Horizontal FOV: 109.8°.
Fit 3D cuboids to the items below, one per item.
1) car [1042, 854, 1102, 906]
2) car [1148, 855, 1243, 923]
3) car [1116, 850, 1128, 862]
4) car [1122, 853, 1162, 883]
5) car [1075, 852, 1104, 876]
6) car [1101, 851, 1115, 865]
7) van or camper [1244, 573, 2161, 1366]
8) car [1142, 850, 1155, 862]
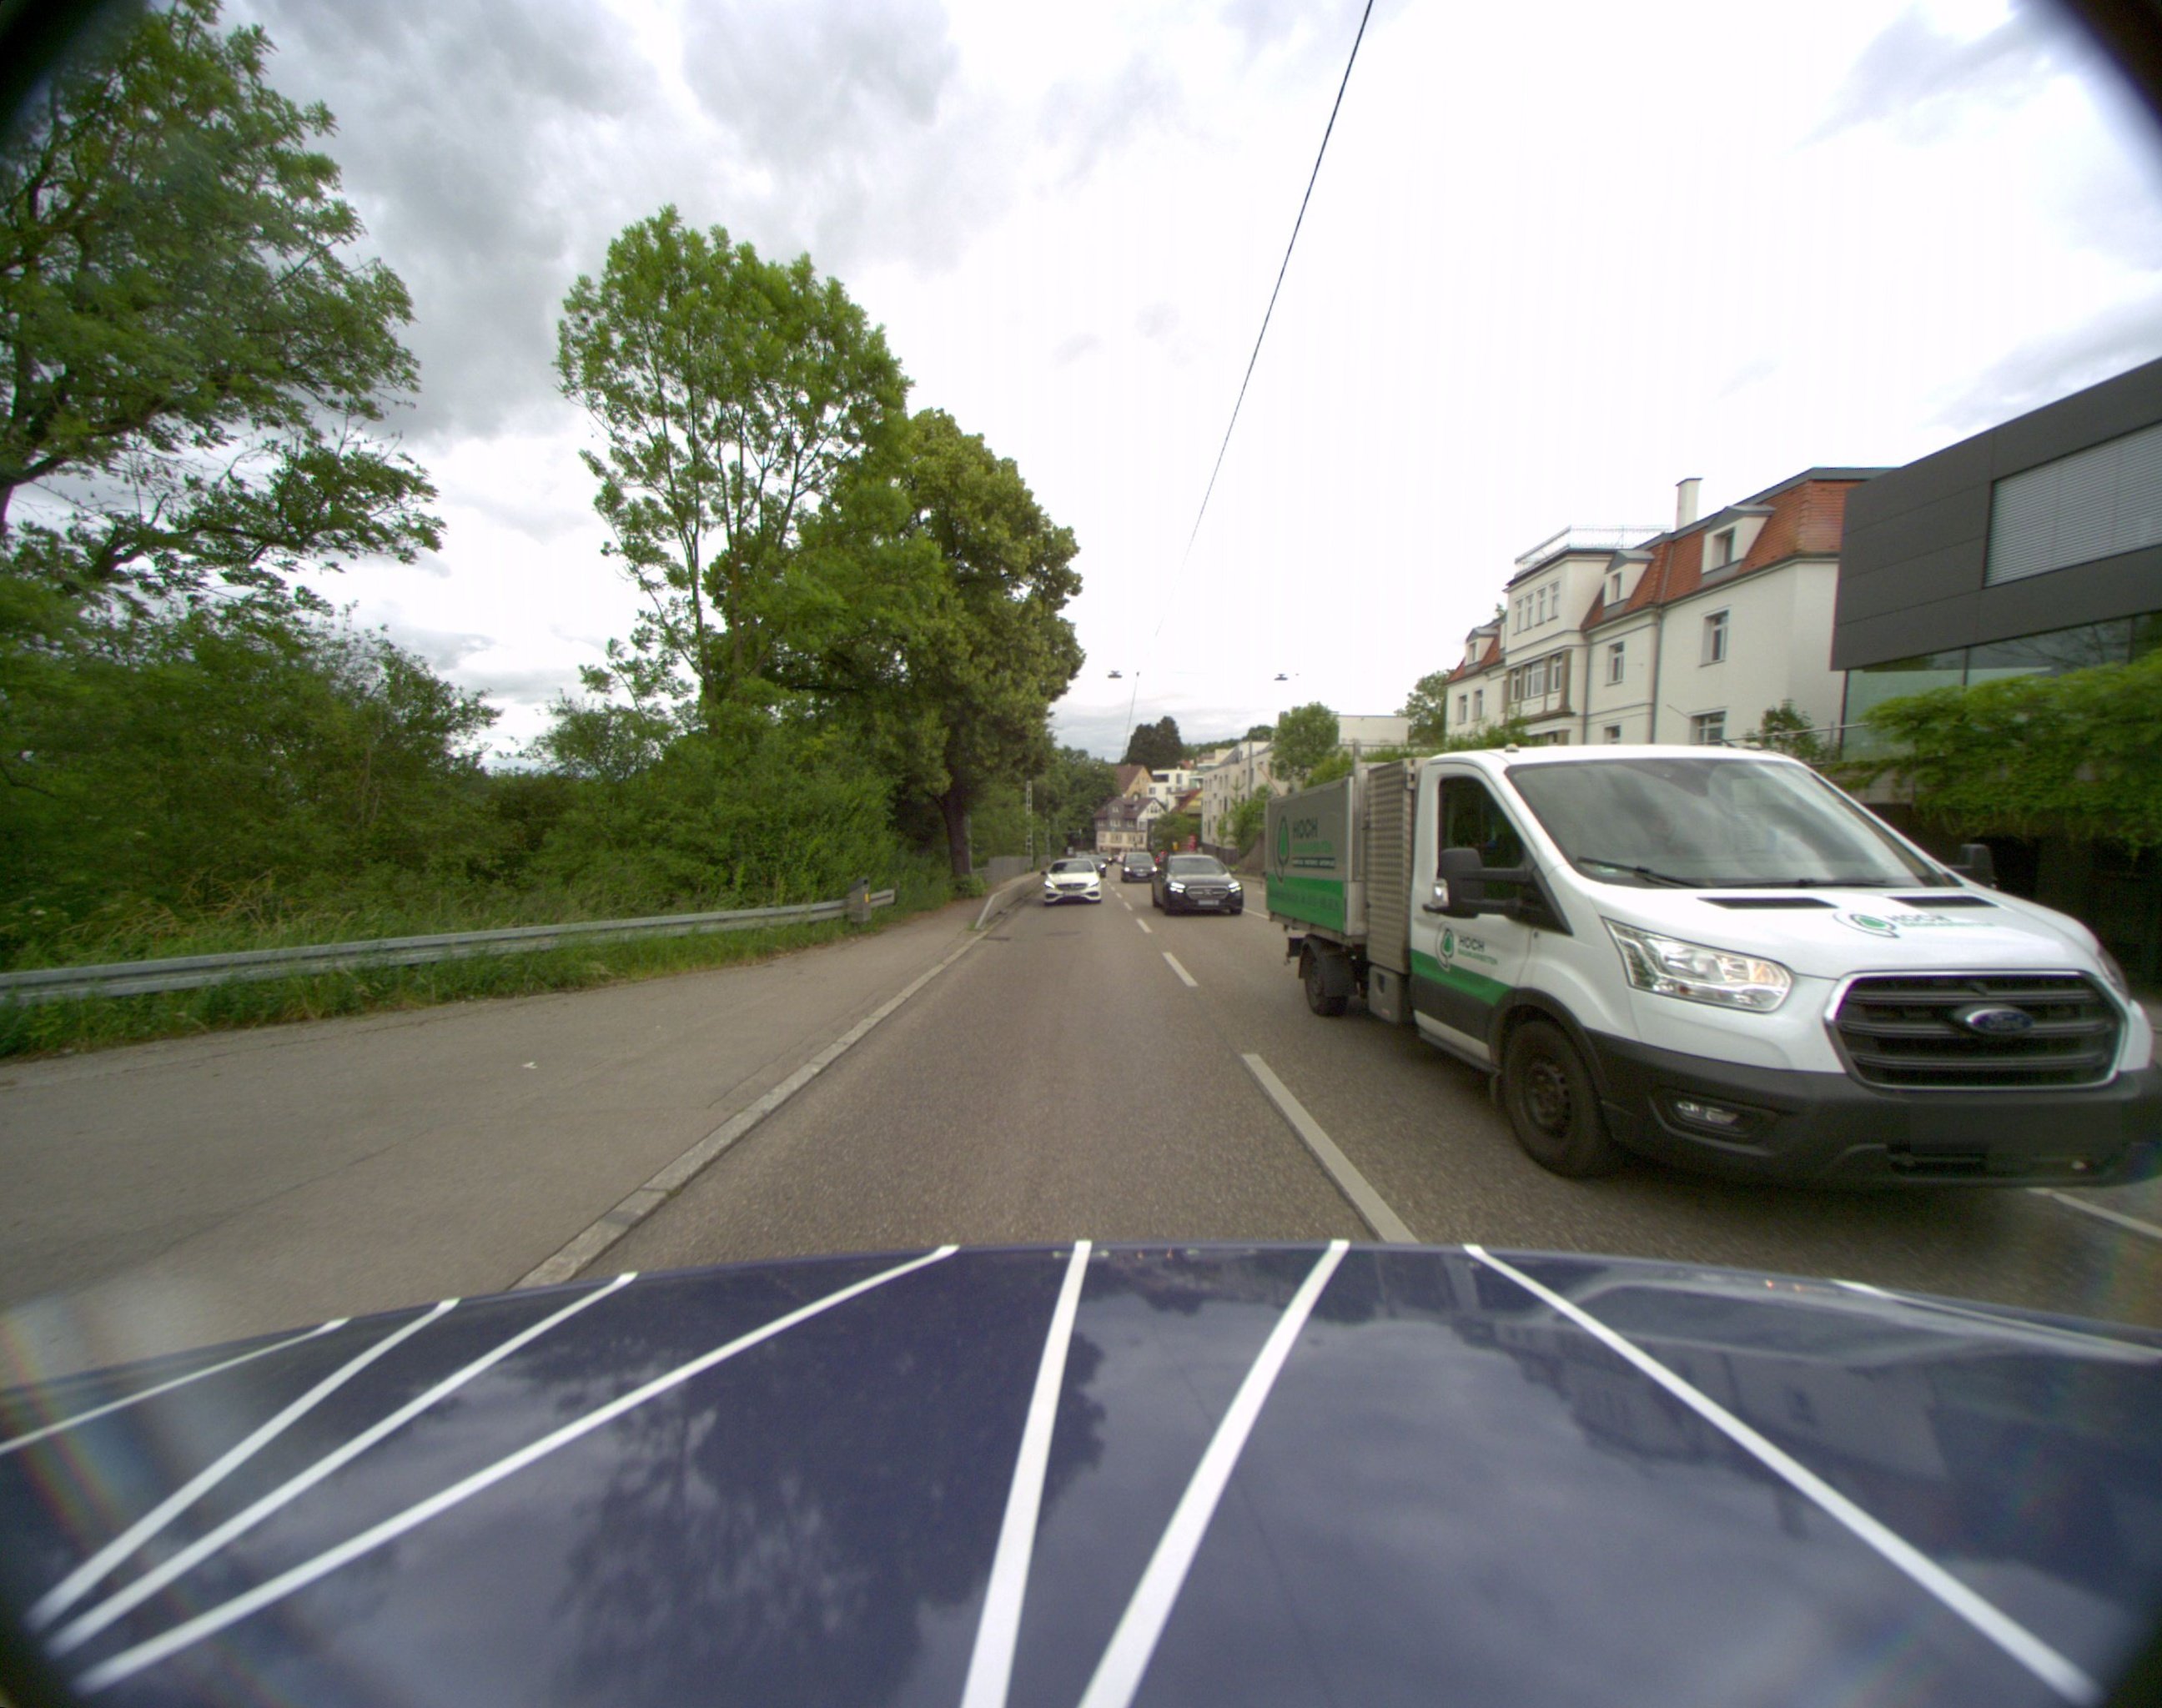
[{"bbox_3d":[-0.244,0.780,24.891,1.809,1.521,4.000,-1,1,1],"label":"car"},{"bbox_3d":[2.847,0.816,19.860,1.878,1.521,4.335,0,1,1],"label":"car"},{"bbox_3d":[6.252,0.303,115.455,1.709,1.702,3.868,0,0,0],"label":"car"},{"bbox_3d":[3.258,0.711,41.280,1.878,1.521,4.000,0,1,1],"label":"car"},{"bbox_3d":[0.573,0.672,52.163,1.878,1.521,4.000,0,1,1],"label":"car"},{"bbox_3d":[3.569,0.491,99.961,1.709,1.702,3.868,0,0,0],"label":"car"},{"bbox_3d":[3.128,0.308,5.553,2.349,2.647,5.962,-1,2,-2],"label":"van or camper"},{"bbox_3d":[10.146,0.283,114.477,1.709,1.702,3.868,0,0,0],"label":"car"}]
